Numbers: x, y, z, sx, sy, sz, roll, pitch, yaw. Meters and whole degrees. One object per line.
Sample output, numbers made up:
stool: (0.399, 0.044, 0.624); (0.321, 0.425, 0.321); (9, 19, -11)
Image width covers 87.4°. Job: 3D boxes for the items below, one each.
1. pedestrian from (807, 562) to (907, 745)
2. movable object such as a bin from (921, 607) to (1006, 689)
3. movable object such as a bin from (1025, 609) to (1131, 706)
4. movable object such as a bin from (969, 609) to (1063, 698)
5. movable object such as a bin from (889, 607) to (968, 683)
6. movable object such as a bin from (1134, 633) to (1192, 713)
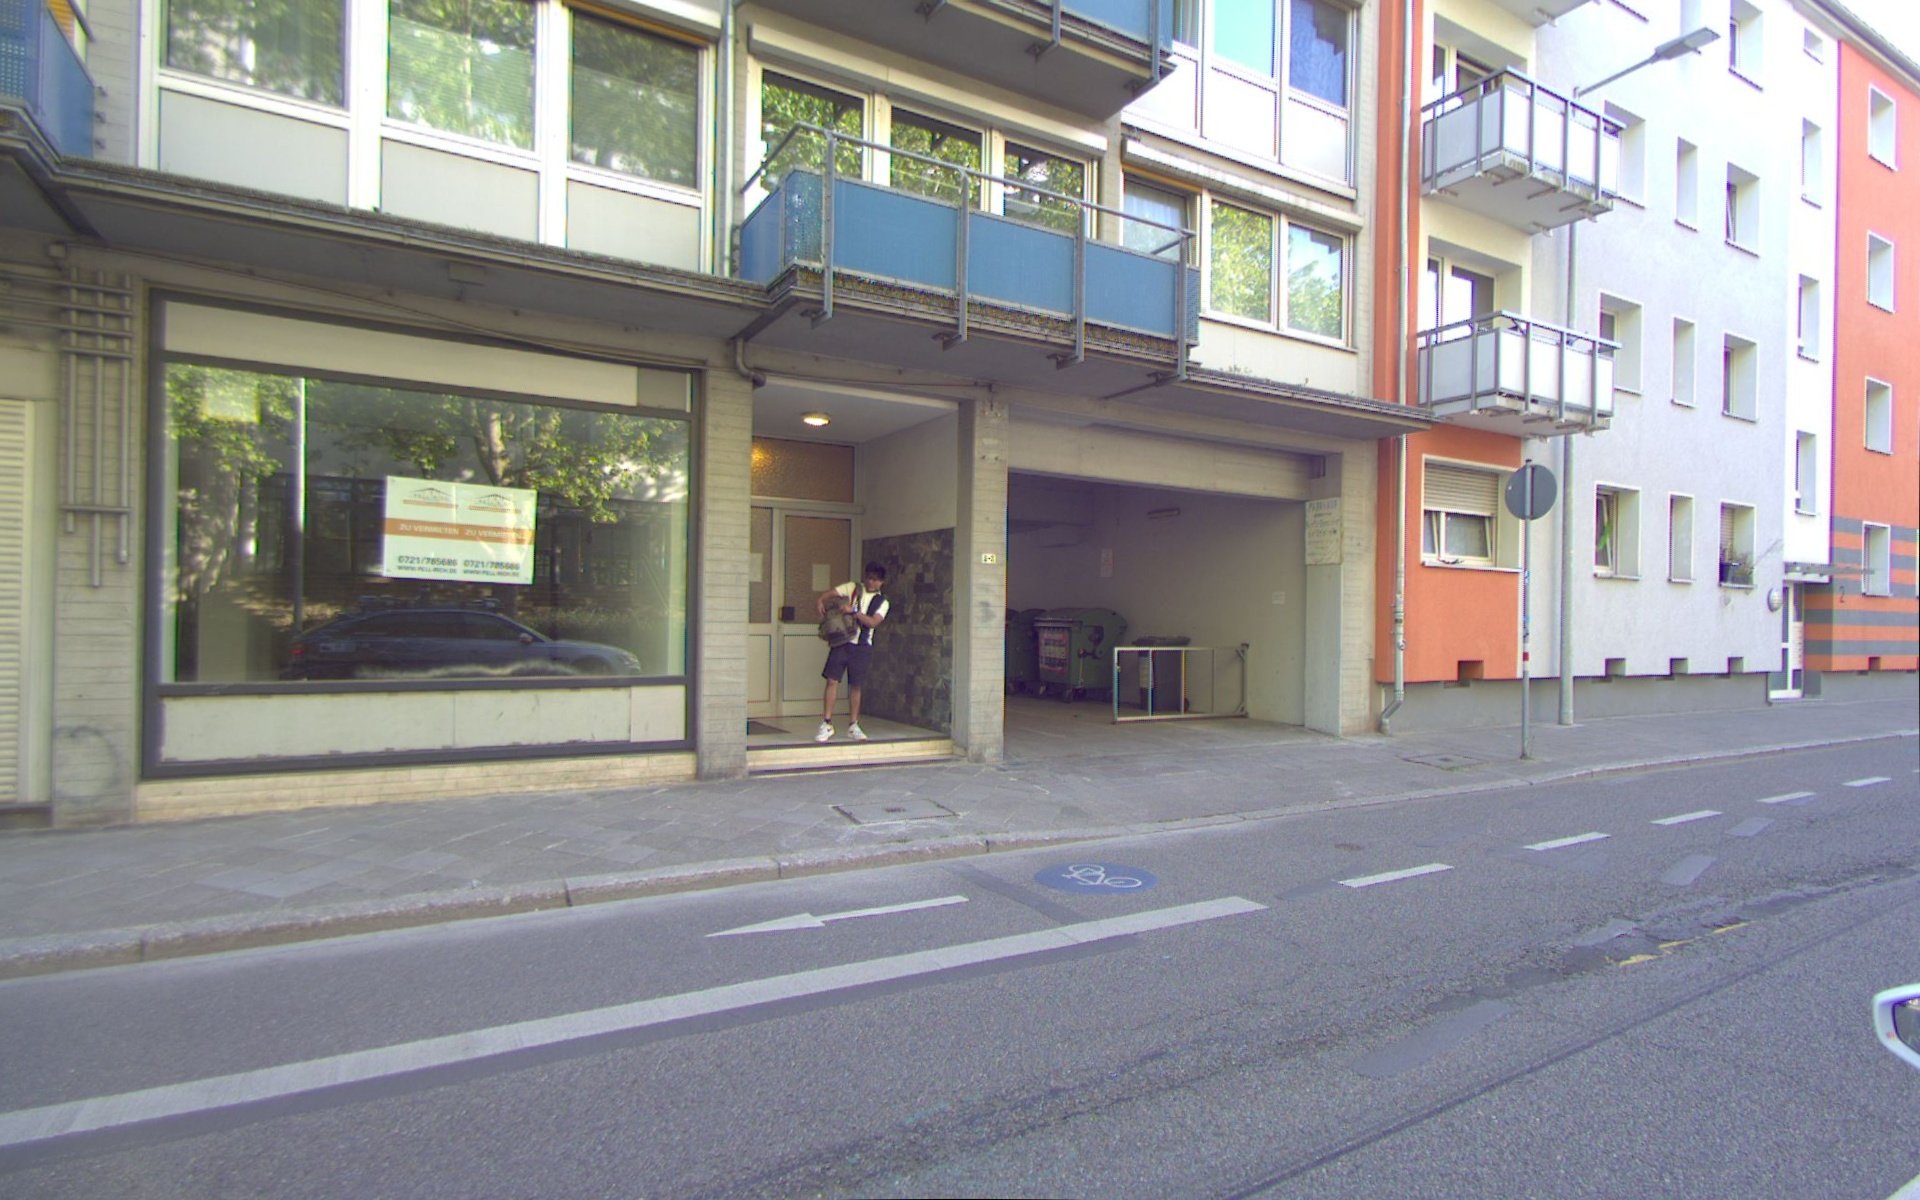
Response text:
pedestrian: (-0.943, 0.474, 9.184); (0.747, 1.600, 0.511); (1, 0, -30)
movable object such as a bin: (0.056, 0.864, 18.618); (1.067, 1.433, 1.312); (1, -1, -30)
movable object such as a bin: (1.839, 0.870, 15.779); (1.067, 1.433, 1.312); (1, -1, -30)
movable object such as a bin: (0.945, 0.884, 17.162); (1.067, 1.433, 1.312); (1, -1, -30)
movable object such as a bin: (-0.636, 0.868, 19.821); (1.067, 1.433, 1.312); (1, -1, -30)
movable object such as a bin: (2.918, 1.035, 14.435); (0.646, 1.102, 0.487); (1, 0, -30)
